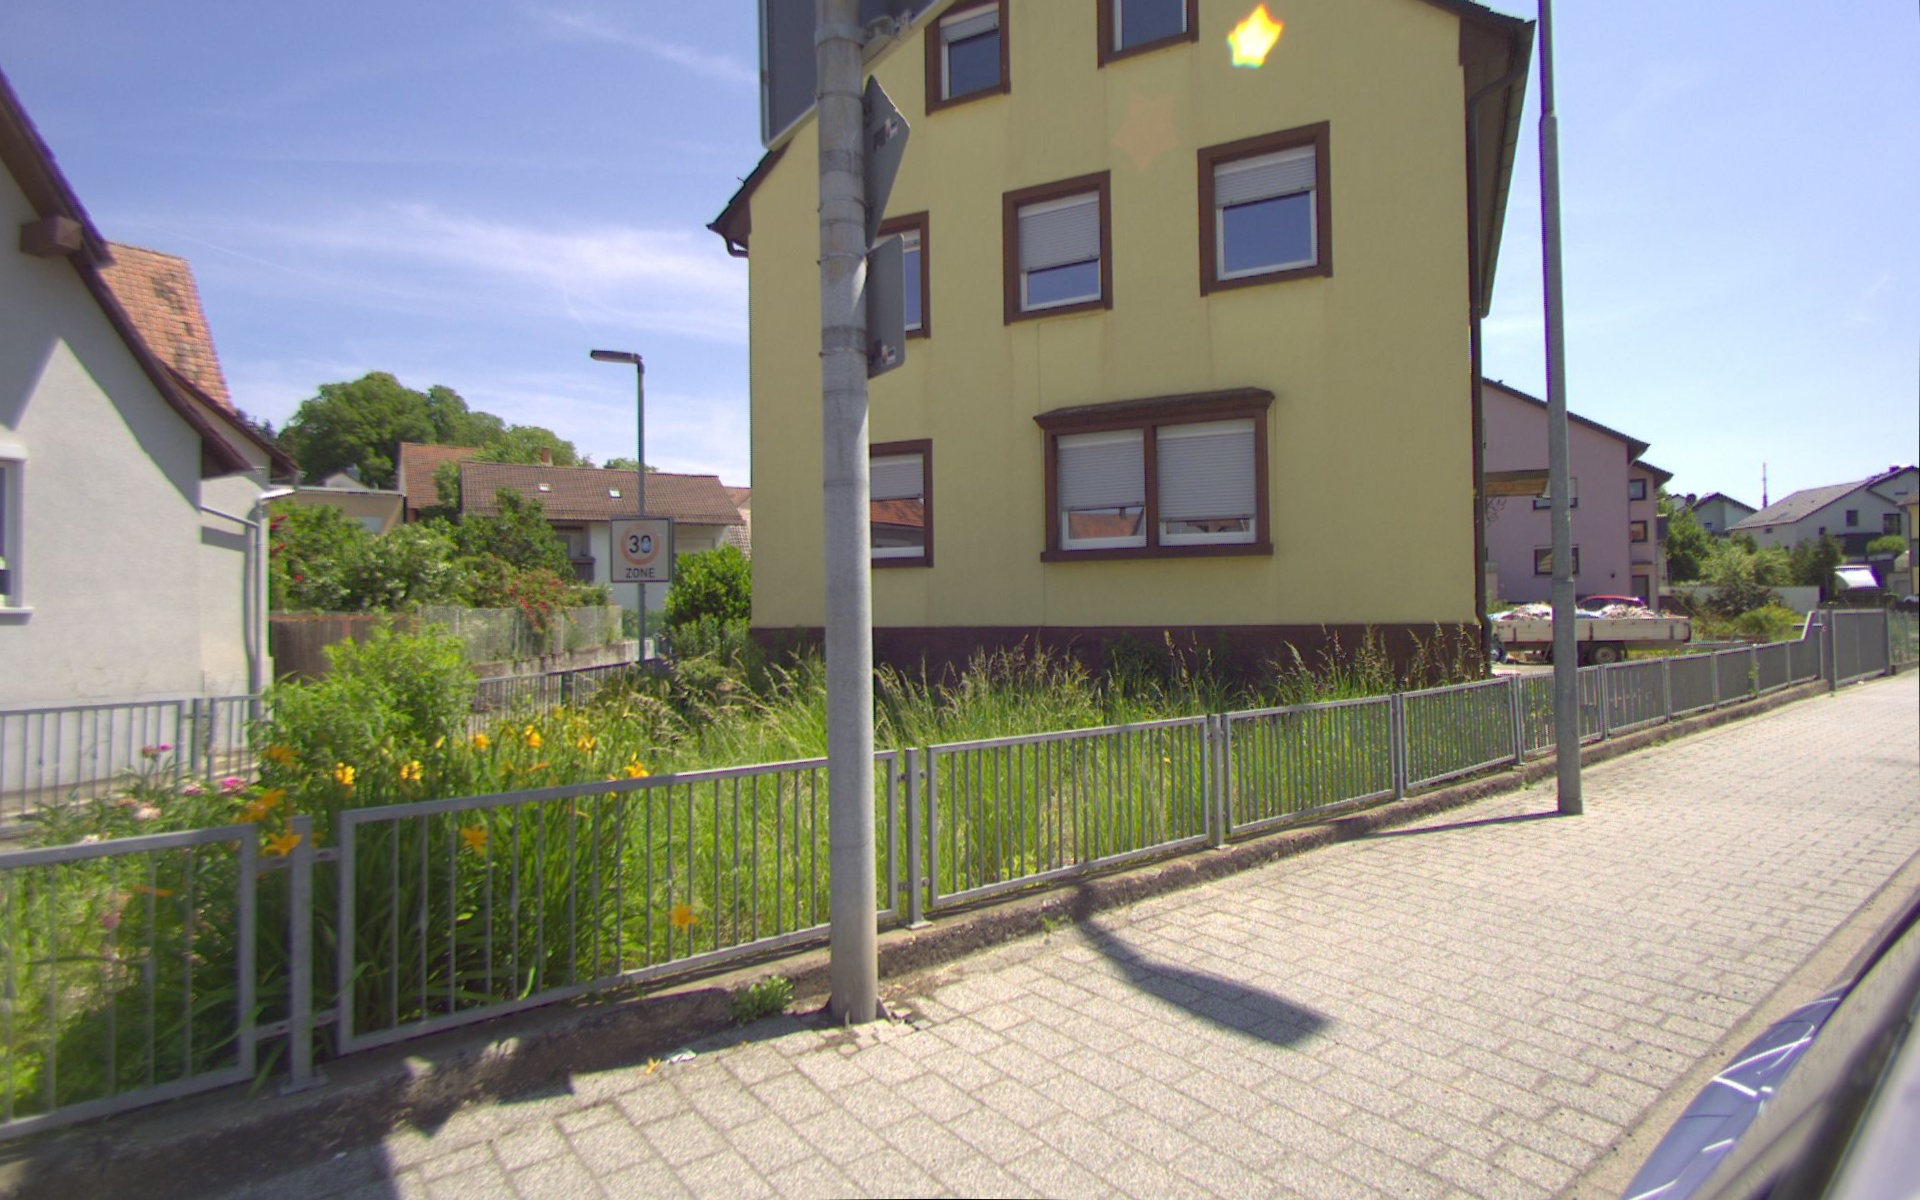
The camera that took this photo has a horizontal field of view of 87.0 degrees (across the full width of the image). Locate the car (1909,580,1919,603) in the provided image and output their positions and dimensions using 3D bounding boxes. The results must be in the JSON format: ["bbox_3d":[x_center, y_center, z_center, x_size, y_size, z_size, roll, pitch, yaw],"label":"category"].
[{"bbox_3d":[67.839,-0.640,69.489,1.706,1.572,4.179,-2,0,8],"label":"car"}]

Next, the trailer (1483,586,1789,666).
[{"bbox_3d":[14.855,0.590,22.714,5.302,1.566,2.122,-2,-1,23],"label":"trailer"}]

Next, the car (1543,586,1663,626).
[{"bbox_3d":[24.942,0.226,39.402,3.802,1.505,1.744,0,0,29],"label":"car"}]

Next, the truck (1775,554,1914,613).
[{"bbox_3d":[59.896,-1.015,68.861,3.155,3.646,8.277,-2,-2,11],"label":"truck"}]

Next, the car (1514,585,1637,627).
[{"bbox_3d":[25.425,0.248,41.967,4.081,1.567,1.835,-2,-1,25],"label":"car"}]
